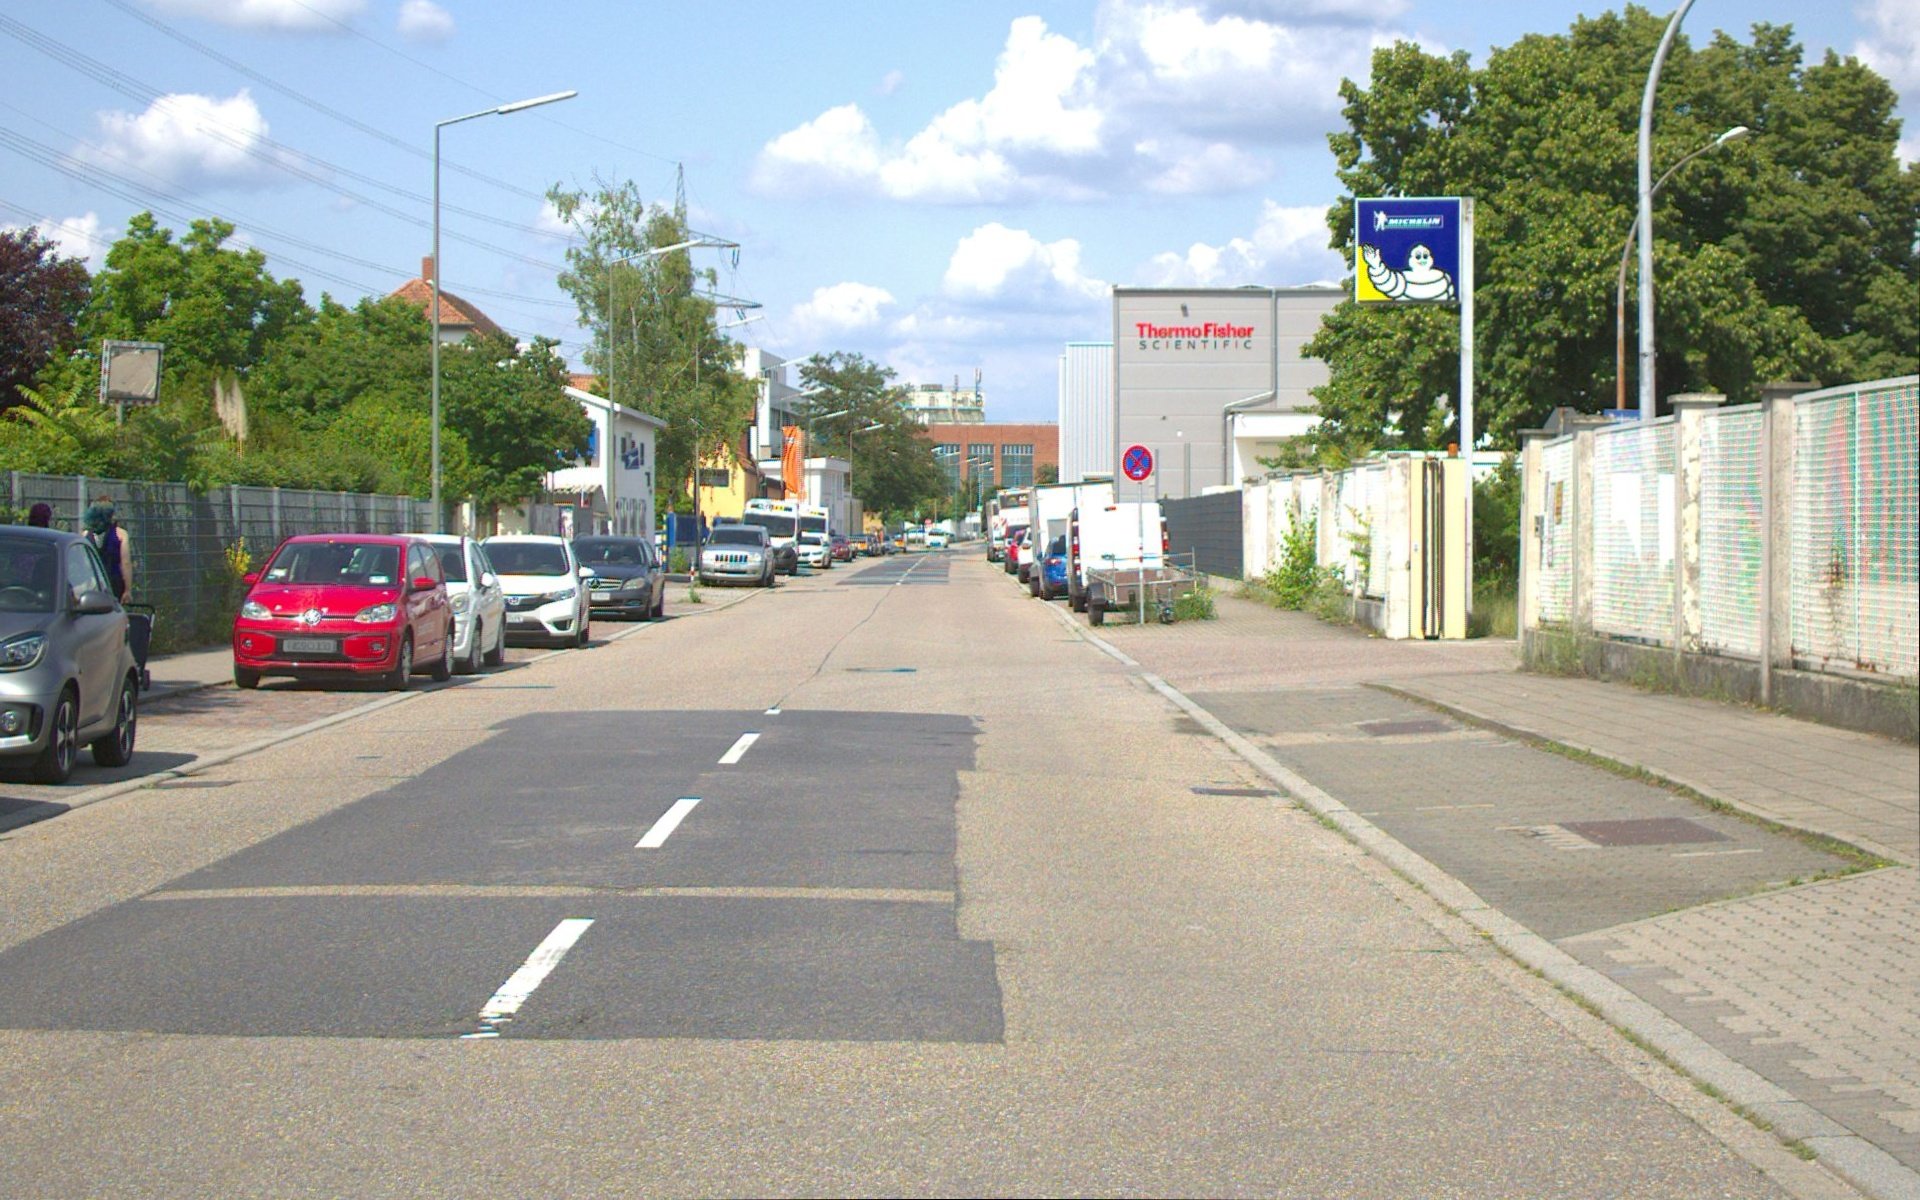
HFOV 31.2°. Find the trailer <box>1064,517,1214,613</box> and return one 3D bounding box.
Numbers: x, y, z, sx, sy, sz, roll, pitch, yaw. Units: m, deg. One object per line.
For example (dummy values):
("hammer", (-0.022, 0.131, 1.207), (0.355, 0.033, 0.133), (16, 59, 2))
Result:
("trailer", (2.865, -0.573, 55.974), (1.748, 1.412, 4.550), (-3, 1, -5))

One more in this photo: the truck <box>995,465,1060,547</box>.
("truck", (2.877, -4.010, 147.899), (2.458, 3.282, 6.818), (-5, 1, 1))

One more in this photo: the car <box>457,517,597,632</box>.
("car", (-5.954, -0.387, 47.593), (1.620, 1.517, 4.176), (0, 1, -3))

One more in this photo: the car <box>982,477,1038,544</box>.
("car", (2.567, -4.653, 179.140), (2.388, 3.351, 6.646), (-2, 1, -3))

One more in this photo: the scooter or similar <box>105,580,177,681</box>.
("scooter or similar", (-7.305, 0.266, 30.679), (0.471, 0.884, 0.710), (0, 1, 0))

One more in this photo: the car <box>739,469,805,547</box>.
("car", (-6.497, -3.159, 119.262), (2.030, 2.549, 6.658), (2, 1, -2))

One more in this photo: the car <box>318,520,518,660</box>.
("car", (-6.003, -0.141, 38.444), (1.645, 1.472, 4.029), (0, 1, -1))

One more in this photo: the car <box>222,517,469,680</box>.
("car", (-5.946, -0.045, 33.646), (1.666, 1.462, 3.744), (2, 1, 1))

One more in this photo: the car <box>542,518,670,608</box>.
("car", (-6.057, -0.666, 59.246), (1.805, 1.414, 4.497), (2, 1, -1))

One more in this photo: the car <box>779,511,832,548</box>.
("car", (-6.221, -2.833, 139.020), (1.796, 1.392, 4.502), (2, 1, 1))

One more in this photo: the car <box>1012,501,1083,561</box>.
("car", (2.621, -2.106, 103.870), (1.935, 1.687, 4.680), (-2, 2, 0))

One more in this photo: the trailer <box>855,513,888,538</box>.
("trailer", (-5.602, -4.703, 217.659), (1.993, 1.551, 4.254), (1, 1, 0))

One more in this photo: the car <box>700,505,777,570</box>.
("car", (-6.187, -1.755, 96.439), (1.791, 1.713, 4.752), (3, 1, 0))

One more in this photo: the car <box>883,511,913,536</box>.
("car", (-4.629, -5.682, 256.675), (1.922, 1.787, 4.000), (2, 1, 2))

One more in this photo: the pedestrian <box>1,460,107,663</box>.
("pedestrian", (-8.154, -0.349, 30.963), (0.708, 1.795, 0.916), (0, 1, 0))

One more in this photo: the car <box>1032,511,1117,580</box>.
("car", (2.601, -1.249, 78.714), (1.690, 1.456, 4.071), (-2, 1, -1))

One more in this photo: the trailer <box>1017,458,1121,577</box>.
("trailer", (2.665, -2.025, 85.358), (2.204, 2.727, 6.222), (-3, 1, -1))

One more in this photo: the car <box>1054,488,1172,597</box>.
("car", (2.902, -1.125, 66.364), (1.993, 2.007, 5.650), (0, 1, 0))

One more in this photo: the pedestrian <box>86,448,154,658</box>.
("pedestrian", (-7.612, -0.426, 31.172), (0.450, 1.887, 0.677), (0, 1, 0))

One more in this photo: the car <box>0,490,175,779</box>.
("car", (-6.119, 0.136, 21.602), (1.650, 1.639, 3.274), (3, 1, -2))

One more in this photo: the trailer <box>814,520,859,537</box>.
("trailer", (-7.044, -4.080, 196.648), (2.362, 0.890, 5.569), (2, 1, 0))

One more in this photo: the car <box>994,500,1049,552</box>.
("car", (2.346, -2.780, 130.574), (2.054, 1.897, 5.147), (0, 0, 1))

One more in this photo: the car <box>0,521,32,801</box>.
("car", (-6.058, 0.322, 16.942), (1.845, 1.503, 4.000), (3, 1, 0))
